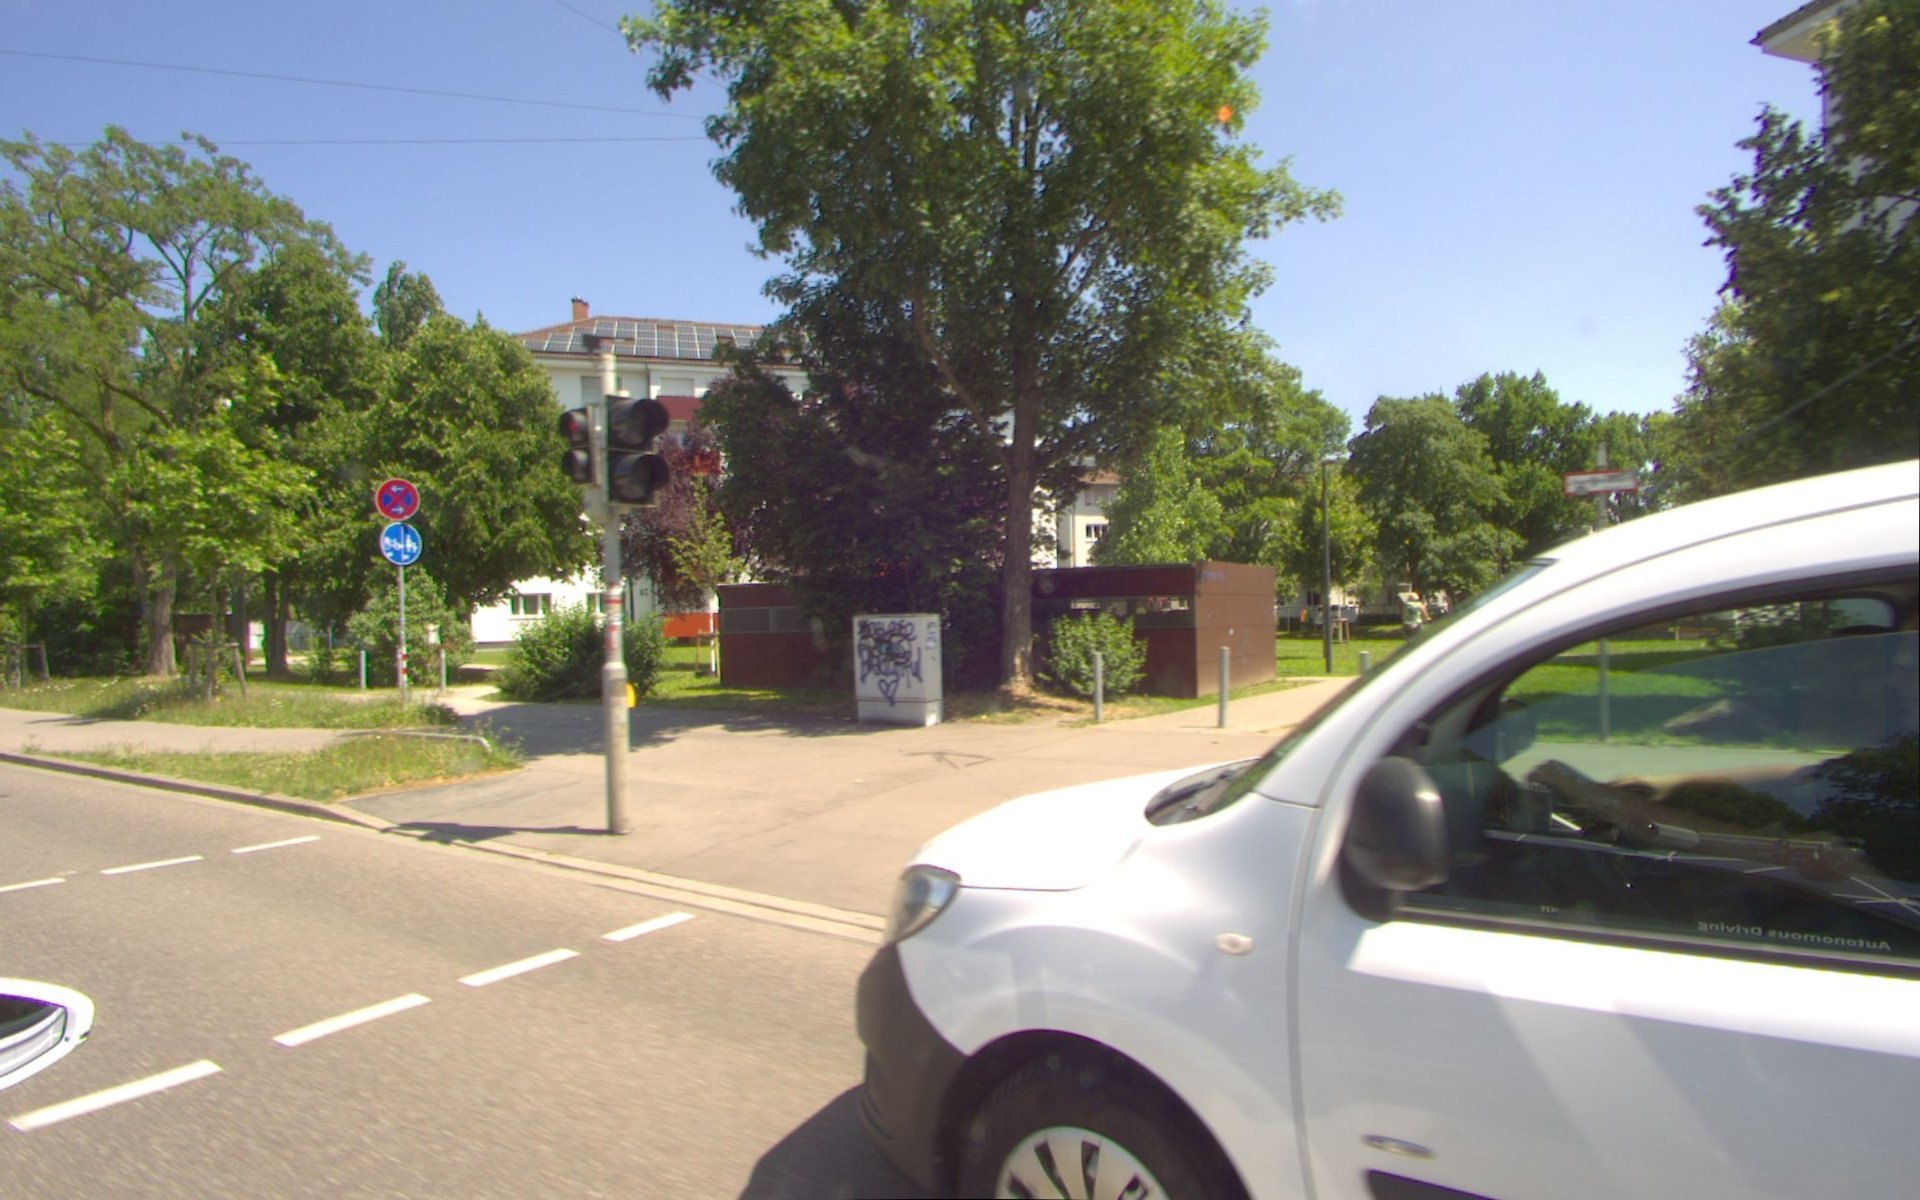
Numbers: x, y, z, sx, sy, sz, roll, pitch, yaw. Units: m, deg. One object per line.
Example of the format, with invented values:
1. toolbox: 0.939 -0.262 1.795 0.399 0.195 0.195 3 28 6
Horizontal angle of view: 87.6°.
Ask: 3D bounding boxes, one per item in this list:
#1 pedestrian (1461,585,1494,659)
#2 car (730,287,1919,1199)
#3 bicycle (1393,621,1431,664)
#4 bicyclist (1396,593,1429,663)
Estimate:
1. pedestrian: 13.823 0.595 26.732 0.744 1.943 0.885 -1 -1 29
2. car: 2.043 0.576 1.699 5.011 1.879 1.801 -1 -2 33
3. bicycle: 11.184 1.047 24.756 0.667 1.057 1.115 -1 -2 35
4. bicyclist: 11.180 0.696 24.744 0.644 1.680 0.609 -1 -1 35
